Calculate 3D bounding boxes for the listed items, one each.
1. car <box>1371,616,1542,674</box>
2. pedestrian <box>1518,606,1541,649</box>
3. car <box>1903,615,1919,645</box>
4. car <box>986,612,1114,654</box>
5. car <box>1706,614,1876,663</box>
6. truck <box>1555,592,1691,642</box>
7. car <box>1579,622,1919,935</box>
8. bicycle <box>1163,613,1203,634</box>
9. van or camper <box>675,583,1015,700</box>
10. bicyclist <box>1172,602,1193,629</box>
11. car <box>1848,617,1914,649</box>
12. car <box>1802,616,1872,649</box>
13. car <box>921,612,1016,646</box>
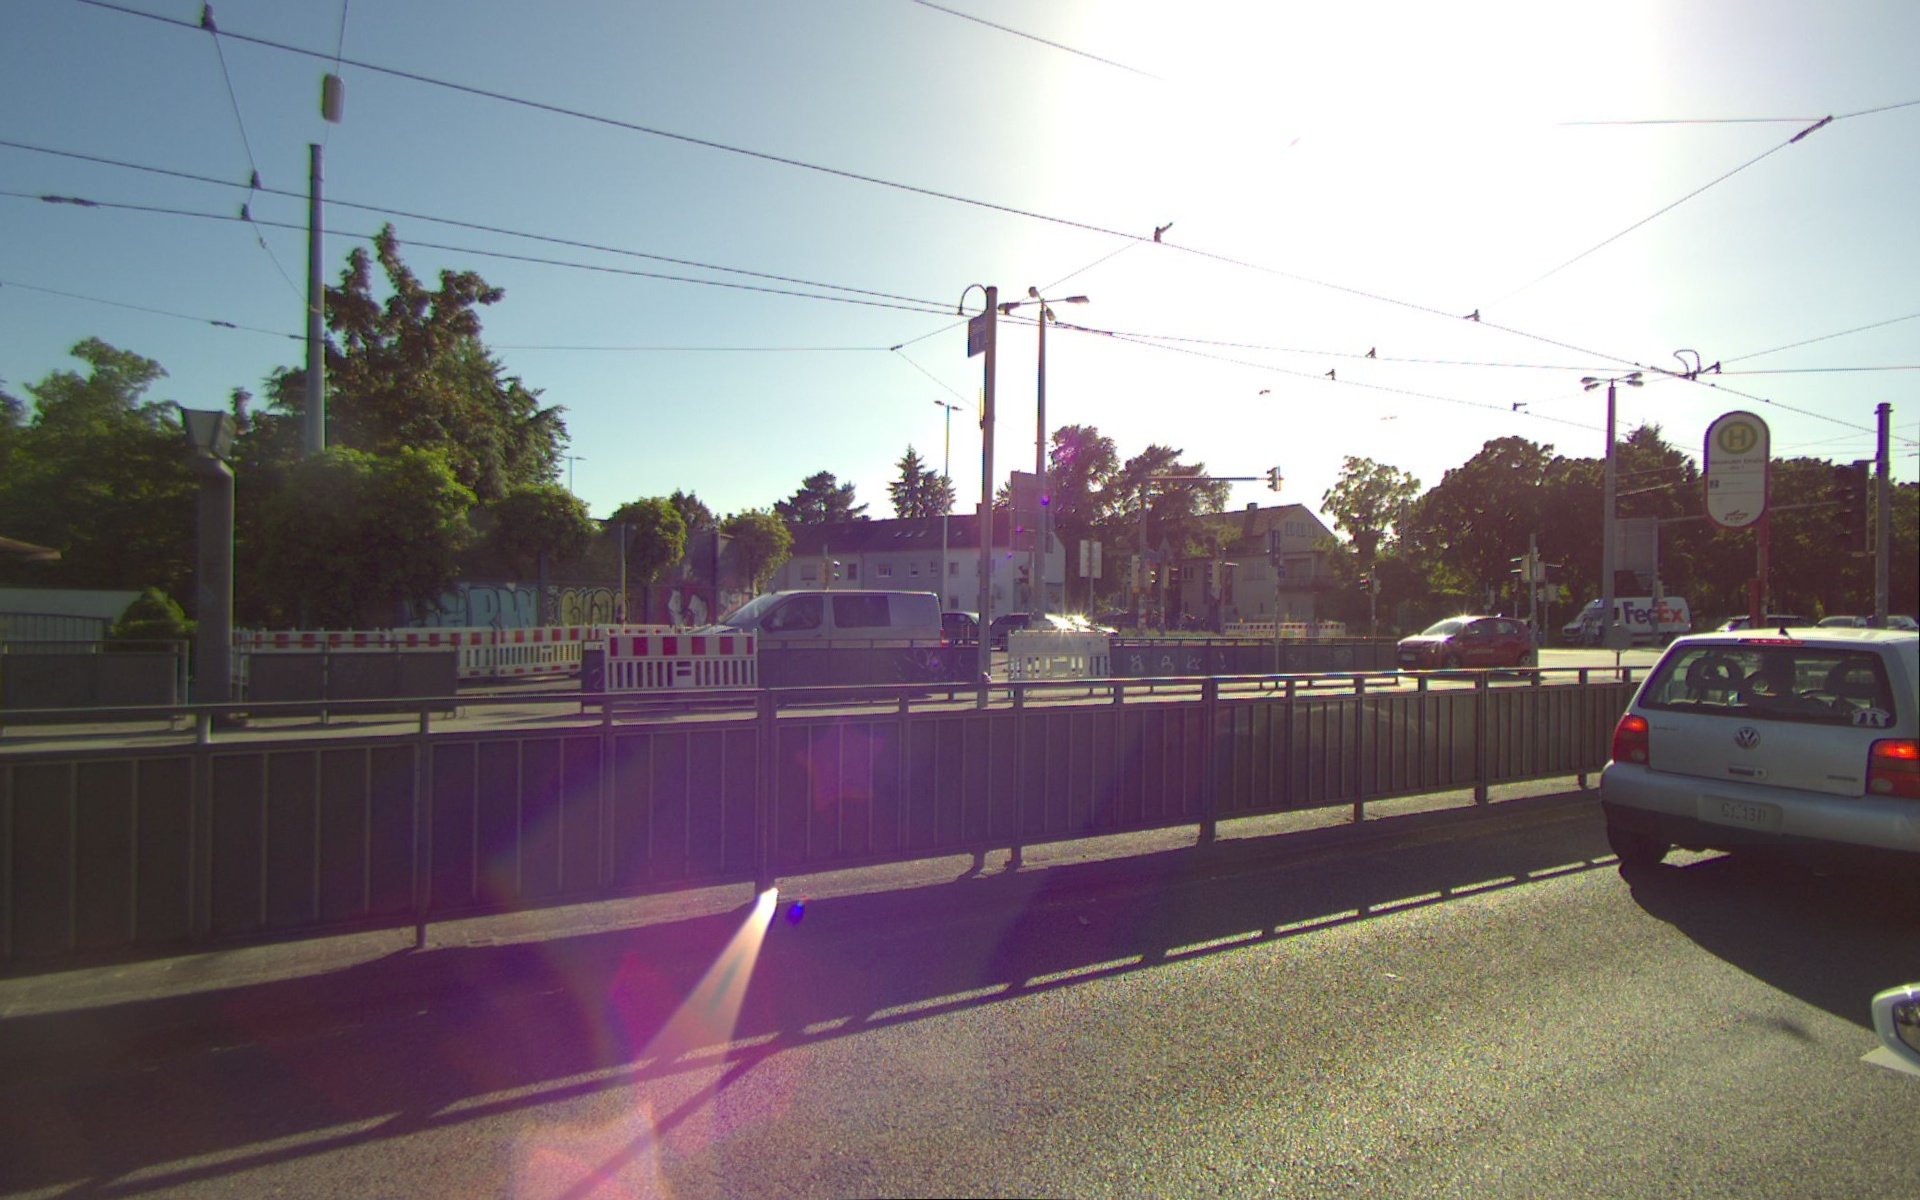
[{"bbox_3d":[12.884,1.149,26.102,3.950,1.421,1.604,1,-1,-16],"label":"car"},{"bbox_3d":[27.167,1.295,47.929,0.785,2.040,0.741,1,-1,-42],"label":"pedestrian"},{"bbox_3d":[54.599,1.701,56.202,4.712,1.626,1.978,1,1,-38],"label":"car"},{"bbox_3d":[3.491,1.255,39.382,4.754,1.517,1.781,0,-1,34],"label":"car"},{"bbox_3d":[26.947,1.219,32.745,3.923,1.498,1.715,0,-1,23],"label":"car"},{"bbox_3d":[35.396,0.921,53.621,6.705,2.599,1.995,1,-1,-13],"label":"truck"},{"bbox_3d":[5.503,0.881,6.133,3.312,1.436,1.611,2,-2,-31],"label":"car"},{"bbox_3d":[13.911,1.461,62.744,2.370,1.279,0.813,0,-1,43],"label":"bicycle"},{"bbox_3d":[-1.980,0.730,18.420,5.921,1.852,1.983,1,-1,-32],"label":"van or camper"},{"bbox_3d":[13.902,0.961,62.732,0.995,1.669,0.813,0,0,42],"label":"bicyclist"},{"bbox_3d":[47.639,1.693,51.939,4.245,1.568,1.819,1,-1,-37],"label":"car"},{"bbox_3d":[42.754,1.577,48.953,3.963,1.568,1.819,1,-1,-37],"label":"car"},{"bbox_3d":[0.370,1.287,45.599,4.104,1.451,1.589,0,-1,34],"label":"car"}]
